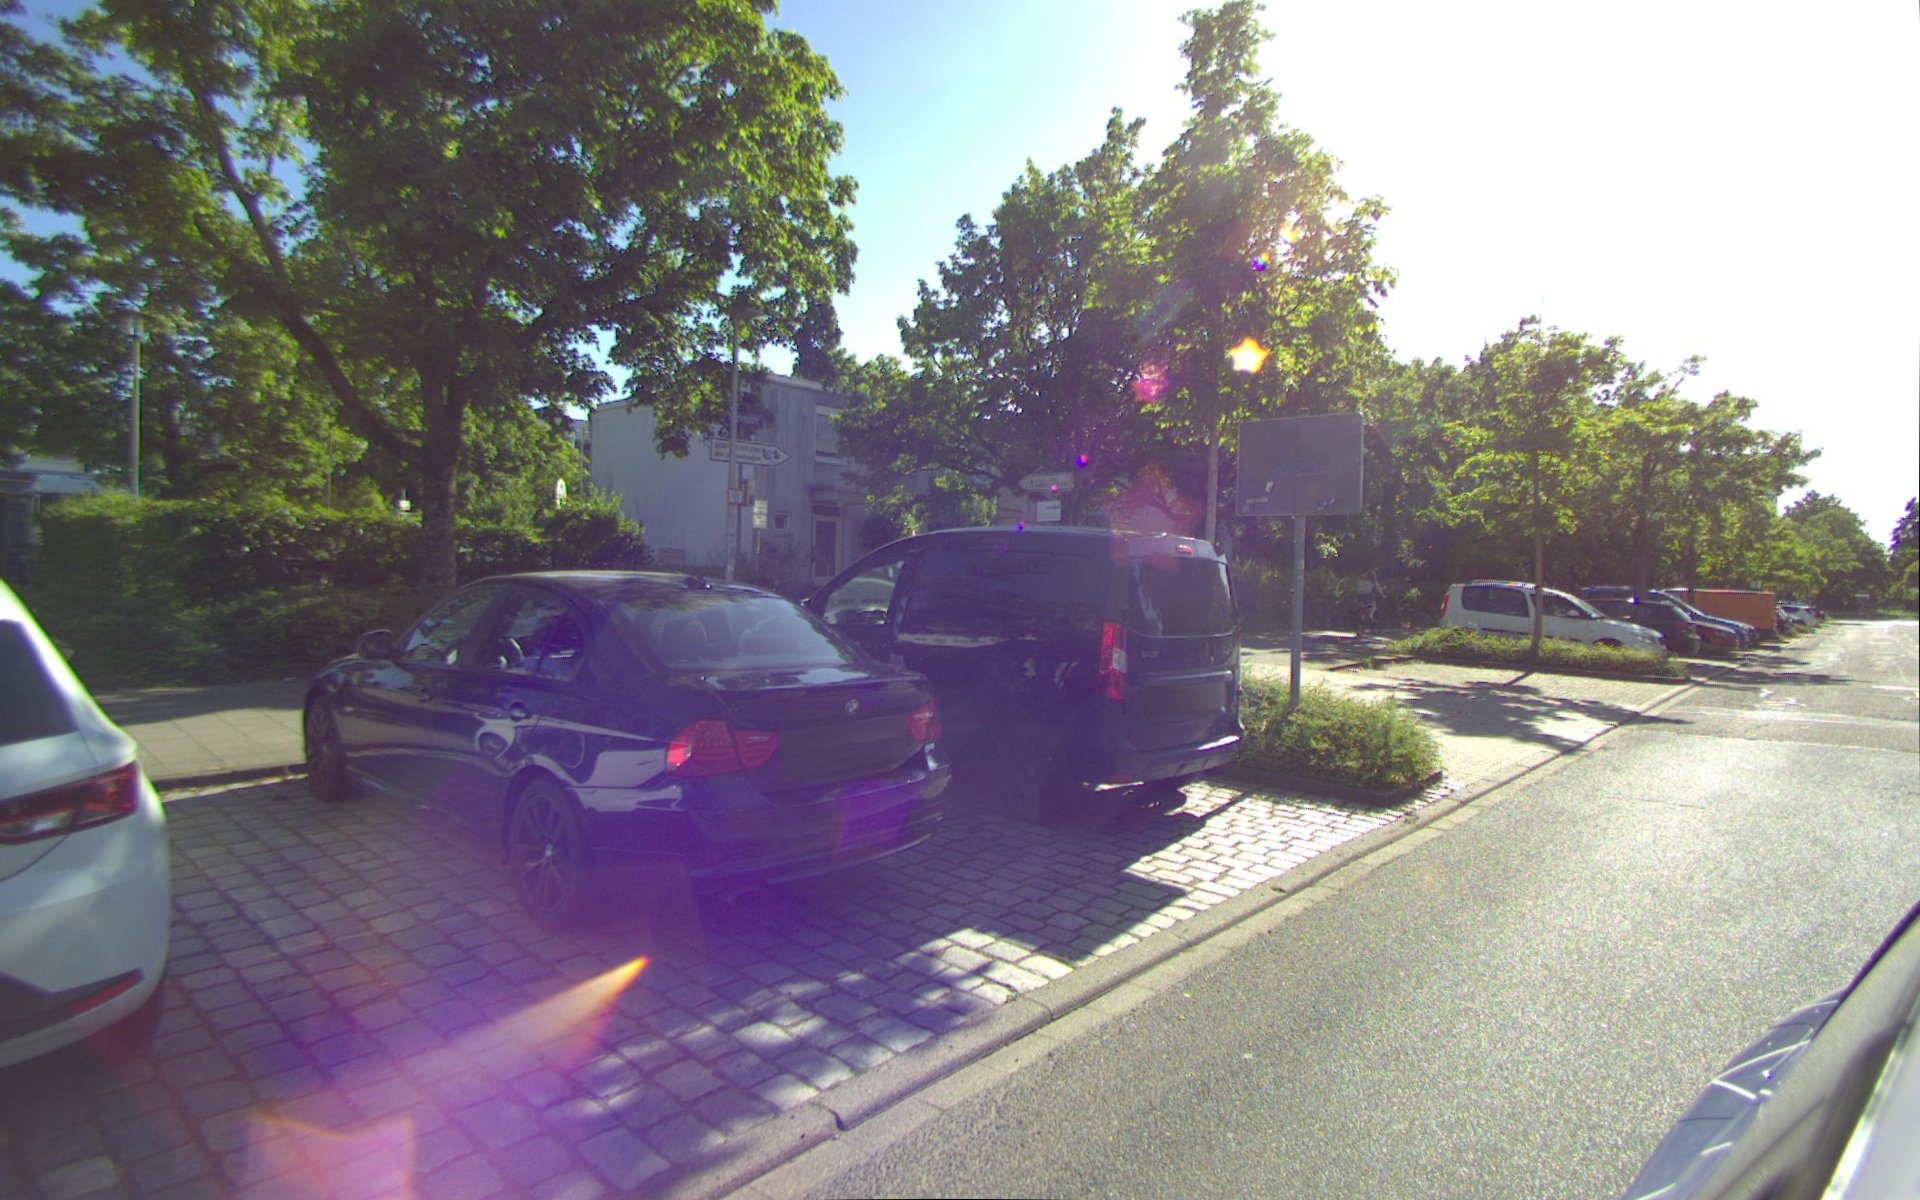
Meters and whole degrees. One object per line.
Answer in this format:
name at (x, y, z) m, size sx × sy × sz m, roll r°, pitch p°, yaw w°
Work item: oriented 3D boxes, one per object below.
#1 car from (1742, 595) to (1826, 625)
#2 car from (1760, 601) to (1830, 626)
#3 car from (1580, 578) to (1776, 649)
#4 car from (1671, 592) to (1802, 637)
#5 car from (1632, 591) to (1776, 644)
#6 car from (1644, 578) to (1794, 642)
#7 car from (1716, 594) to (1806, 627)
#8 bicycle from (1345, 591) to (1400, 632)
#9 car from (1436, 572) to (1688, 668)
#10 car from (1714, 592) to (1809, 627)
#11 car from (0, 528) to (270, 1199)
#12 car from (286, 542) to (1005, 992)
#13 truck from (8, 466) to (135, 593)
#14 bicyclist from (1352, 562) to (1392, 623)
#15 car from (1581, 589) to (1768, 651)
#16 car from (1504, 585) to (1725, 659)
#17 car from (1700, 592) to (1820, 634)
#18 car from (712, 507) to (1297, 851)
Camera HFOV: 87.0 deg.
car at (55.248, 0.640, 67.863) m, size 4.245 × 1.736 × 1.945 m, roll 4°, pitch 3°, yaw 42°
car at (68.032, 1.090, 82.472) m, size 4.245 × 1.736 × 1.945 m, roll 4°, pitch 3°, yaw 42°
car at (21.764, 0.331, 30.795) m, size 4.648 × 1.794 × 1.802 m, roll 4°, pitch 3°, yaw 42°
car at (32.875, 0.565, 42.899) m, size 4.245 × 1.590 × 1.945 m, roll 4°, pitch 3°, yaw 42°
car at (25.221, 0.553, 34.370) m, size 3.773 × 1.492 × 1.742 m, roll 4°, pitch 3°, yaw 42°
car at (28.046, 0.304, 37.462) m, size 4.245 × 2.057 × 1.945 m, roll 4°, pitch 3°, yaw 42°
car at (49.902, 0.622, 63.067) m, size 4.245 × 1.736 × 1.945 m, roll 4°, pitch 3°, yaw 42°
bicycle at (10.748, 0.303, 26.334) m, size 0.594 × 1.008 × 2.056 m, roll 2°, pitch 1°, yaw 43°
car at (12.249, 0.329, 20.740) m, size 4.153 × 1.617 × 1.802 m, roll 4°, pitch 3°, yaw 42°
car at (47.067, 0.525, 59.452) m, size 4.245 × 1.736 × 1.945 m, roll 4°, pitch 3°, yaw 42°
car at (-3.813, 0.482, 3.209) m, size 3.898 × 1.454 × 1.781 m, roll 5°, pitch 3°, yaw 42°
car at (-1.949, 0.477, 5.446) m, size 4.153 × 1.423 × 1.802 m, roll 4°, pitch 3°, yaw 42°
truck at (-30.569, -2.317, 34.719) m, size 2.766 × 3.854 × 6.906 m, roll 2°, pitch 1°, yaw -45°
bicyclist at (10.713, -0.195, 26.294) m, size 0.594 × 1.542 × 0.998 m, roll 2°, pitch 0°, yaw 44°
car at (20.318, 0.518, 28.885) m, size 4.153 × 1.423 × 1.802 m, roll 4°, pitch 3°, yaw 42°
car at (15.458, 0.451, 24.036) m, size 4.153 × 1.423 × 1.802 m, roll 4°, pitch 3°, yaw 42°
car at (37.084, 0.545, 46.953) m, size 4.245 × 1.633 × 1.945 m, roll 4°, pitch 3°, yaw 42°
car at (0.109, 0.306, 7.599) m, size 4.156 × 1.869 × 1.851 m, roll 5°, pitch 3°, yaw 43°
